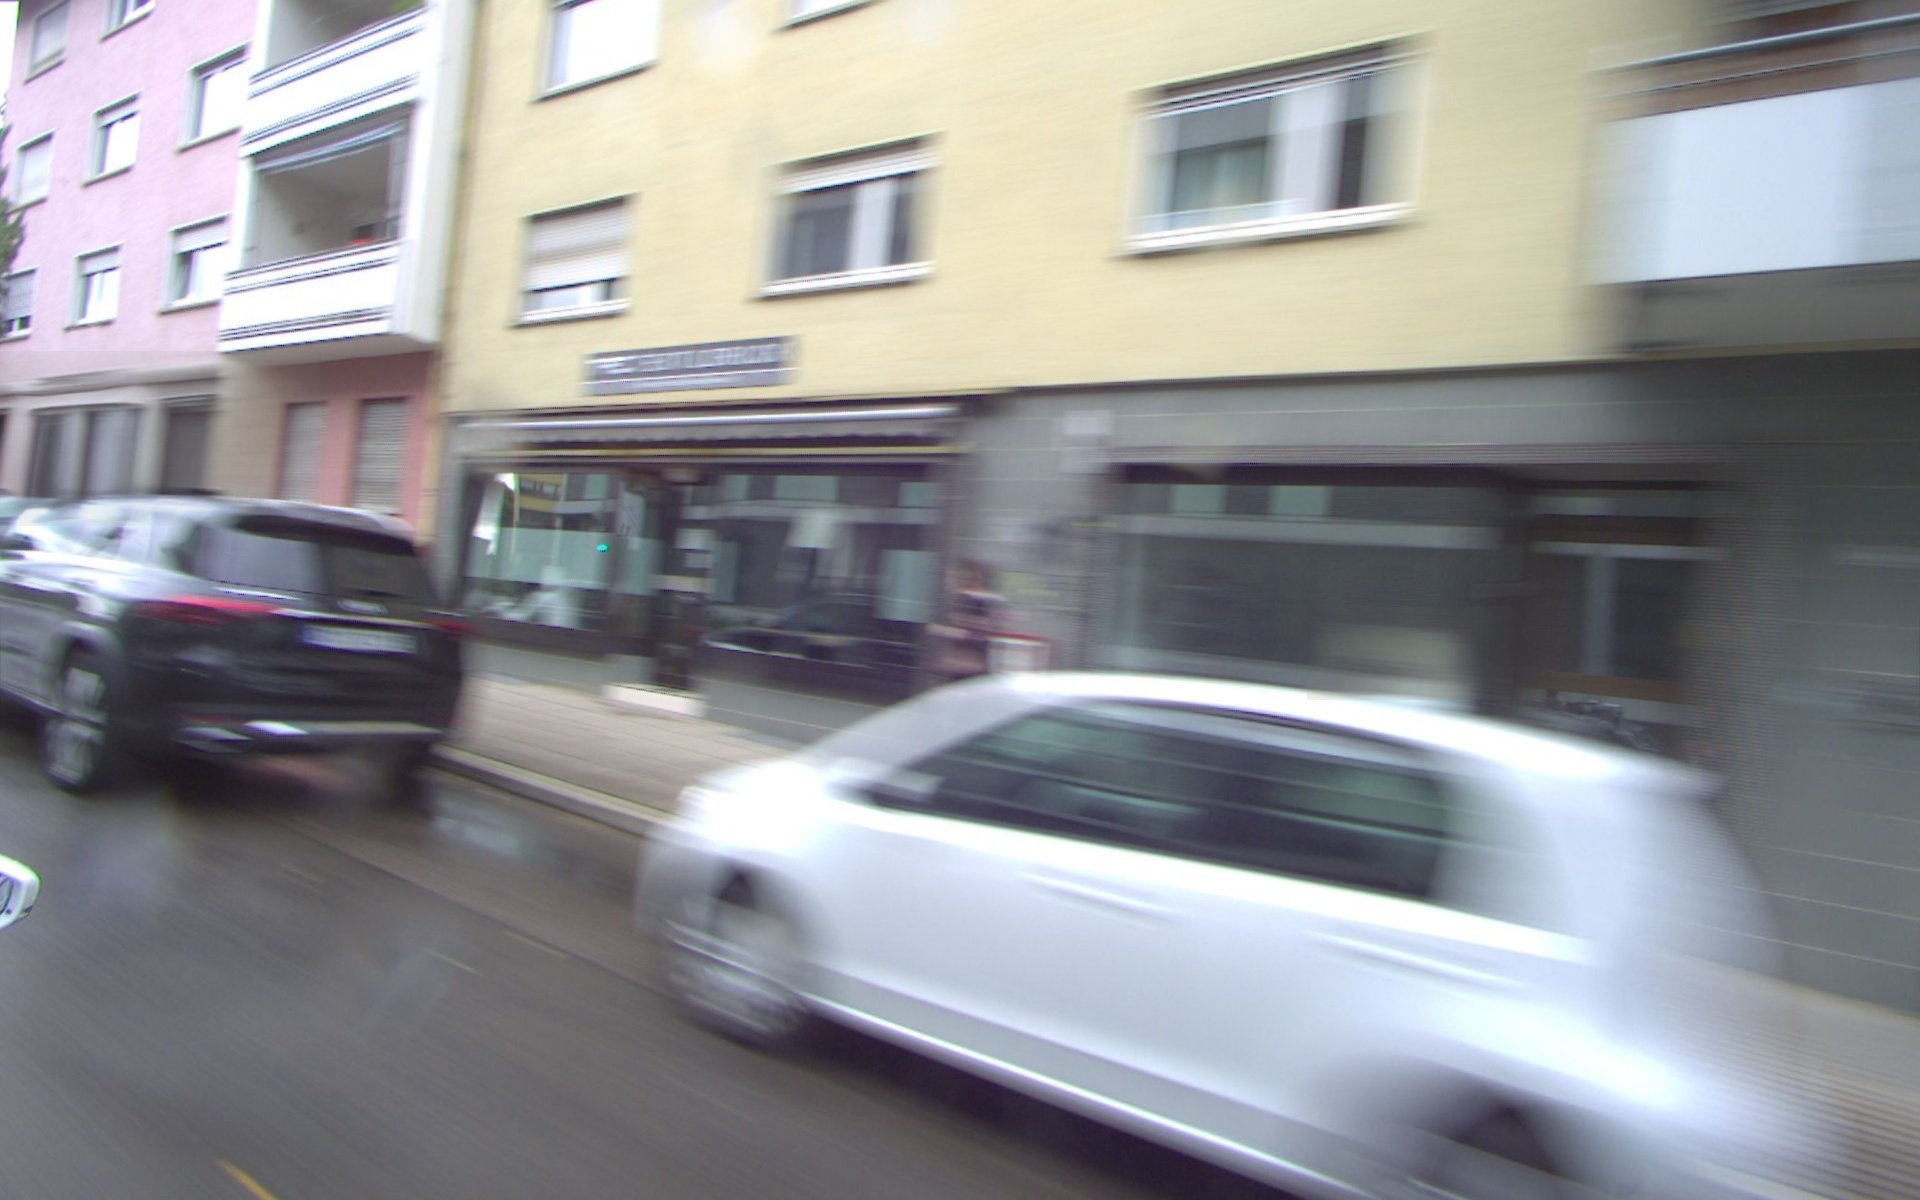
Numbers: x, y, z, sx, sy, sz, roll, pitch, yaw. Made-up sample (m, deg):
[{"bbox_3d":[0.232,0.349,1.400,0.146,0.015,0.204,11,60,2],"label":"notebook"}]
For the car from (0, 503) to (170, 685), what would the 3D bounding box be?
[{"bbox_3d":[-10.074,-0.250,10.033,4.435,1.537,1.796,7,-2,30],"label":"car"}]

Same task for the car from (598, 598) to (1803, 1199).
[{"bbox_3d":[0.579,0.972,3.628,3.426,1.473,1.630,6,-2,32],"label":"car"}]

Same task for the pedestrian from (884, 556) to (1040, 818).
[{"bbox_3d":[0.024,0.620,7.535,0.735,1.796,0.714,7,2,31],"label":"pedestrian"}]

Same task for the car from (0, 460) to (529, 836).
[{"bbox_3d":[-5.314,0.145,6.915,4.437,1.795,1.967,6,-2,32],"label":"car"}]
